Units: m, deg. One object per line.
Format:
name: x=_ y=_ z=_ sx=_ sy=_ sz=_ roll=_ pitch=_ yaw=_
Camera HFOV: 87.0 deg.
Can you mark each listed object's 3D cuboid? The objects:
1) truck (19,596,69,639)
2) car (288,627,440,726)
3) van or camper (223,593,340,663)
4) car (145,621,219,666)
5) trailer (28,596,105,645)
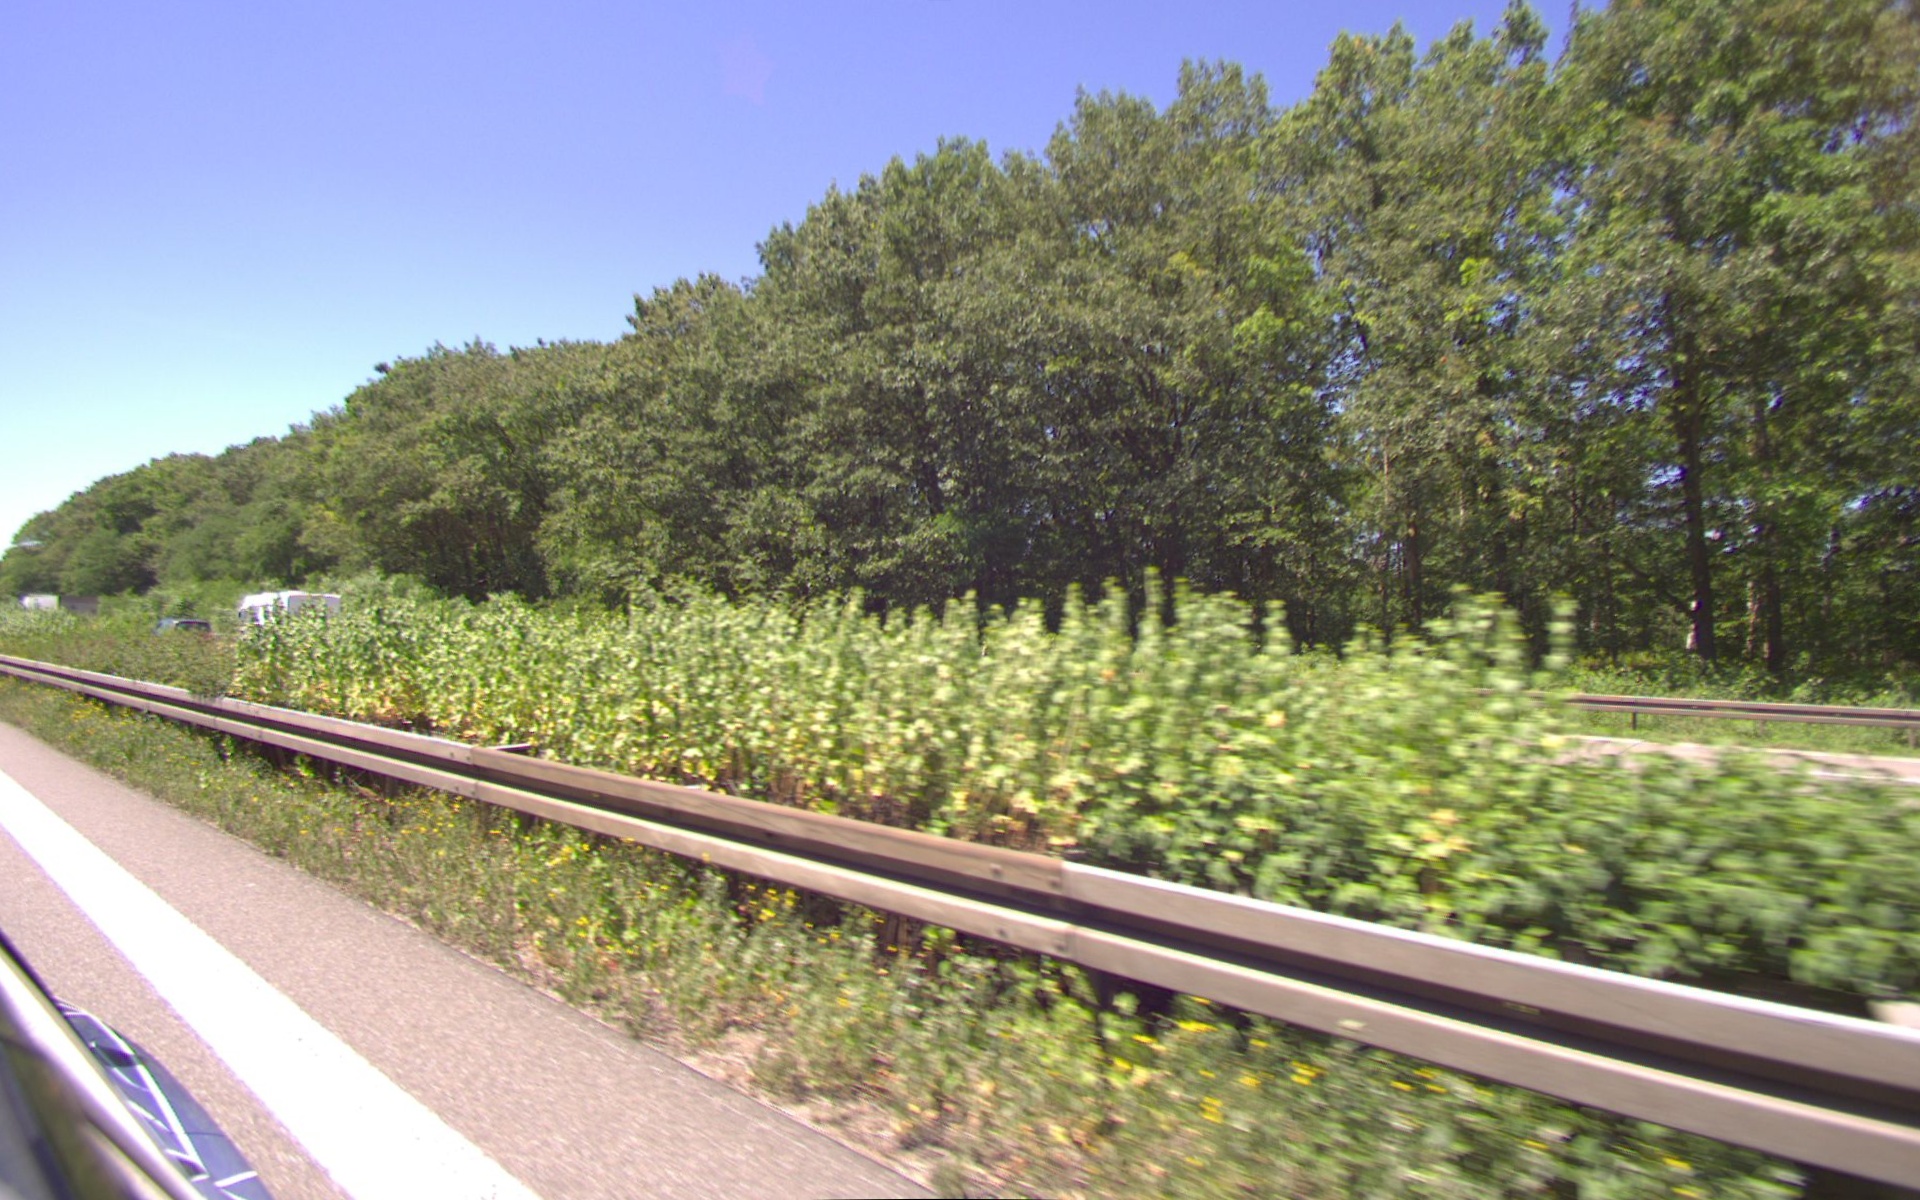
truck: x=-84.633 y=1.642 z=93.489 sx=4.880 sy=3.852 sz=2.754 roll=-1 pitch=-2 yaw=40
car: x=-13.815 y=1.740 z=23.390 sx=3.998 sy=2.029 sz=1.668 roll=-1 pitch=-8 yaw=41
van or camper: x=-33.405 y=1.356 z=49.659 sx=9.081 sy=3.136 sz=2.395 roll=-1 pitch=-2 yaw=41
car: x=-36.524 y=2.001 z=47.508 sx=3.998 sy=2.029 sz=1.973 roll=-1 pitch=-3 yaw=41
trailer: x=-76.838 y=1.755 z=86.891 sx=13.630 sy=3.907 sz=2.880 roll=-1 pitch=-2 yaw=40
